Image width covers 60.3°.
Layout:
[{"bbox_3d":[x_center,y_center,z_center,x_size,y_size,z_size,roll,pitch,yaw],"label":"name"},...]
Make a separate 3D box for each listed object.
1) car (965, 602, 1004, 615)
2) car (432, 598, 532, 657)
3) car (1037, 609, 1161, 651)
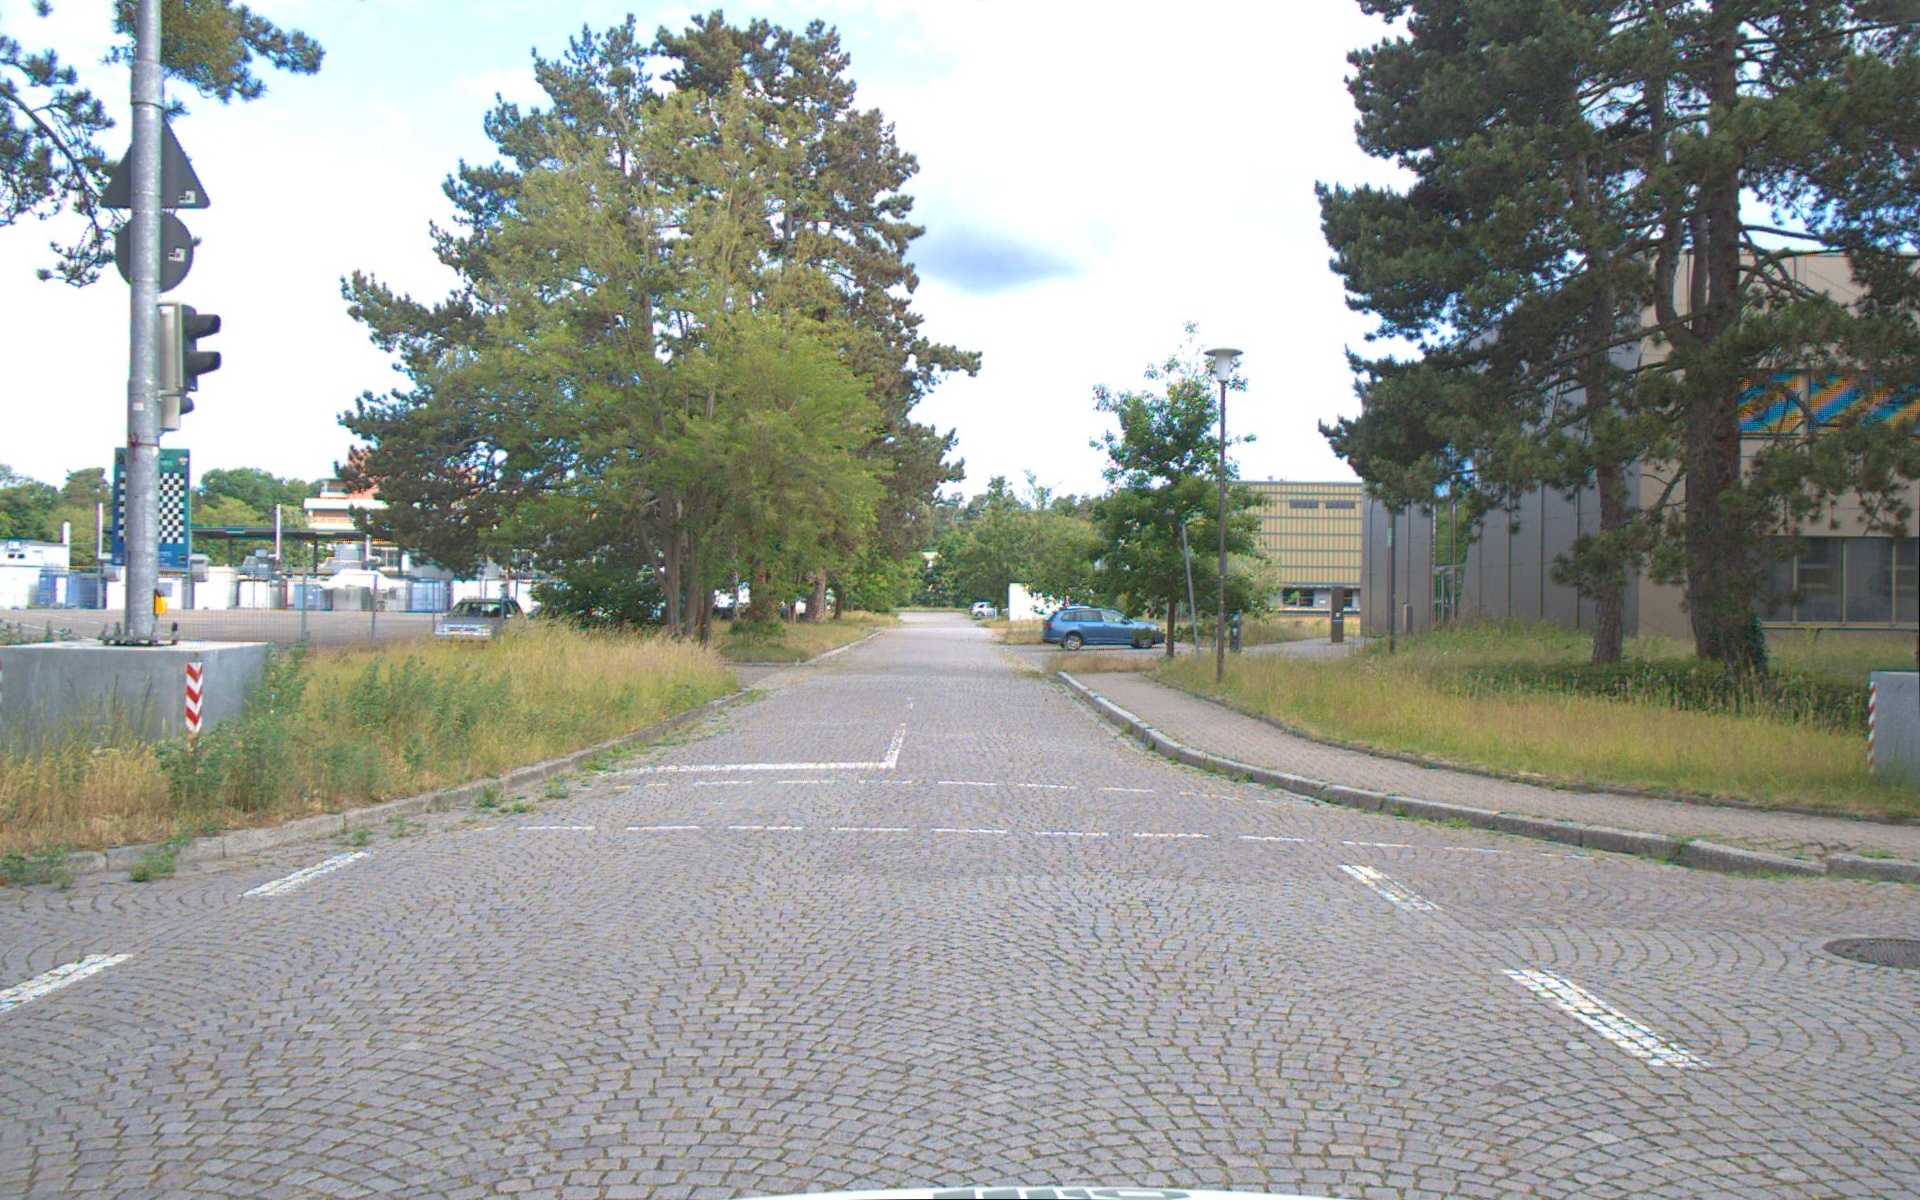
[{"bbox_3d":[2.616,0.903,176.864,3.910,1.422,1.997,0,0,-7],"label":"car"},{"bbox_3d":[-12.883,0.713,44.812,1.580,1.513,3.999,1,0,-1],"label":"car"},{"bbox_3d":[5.007,1.061,59.844,4.257,1.447,1.999,0,0,-3],"label":"car"}]
